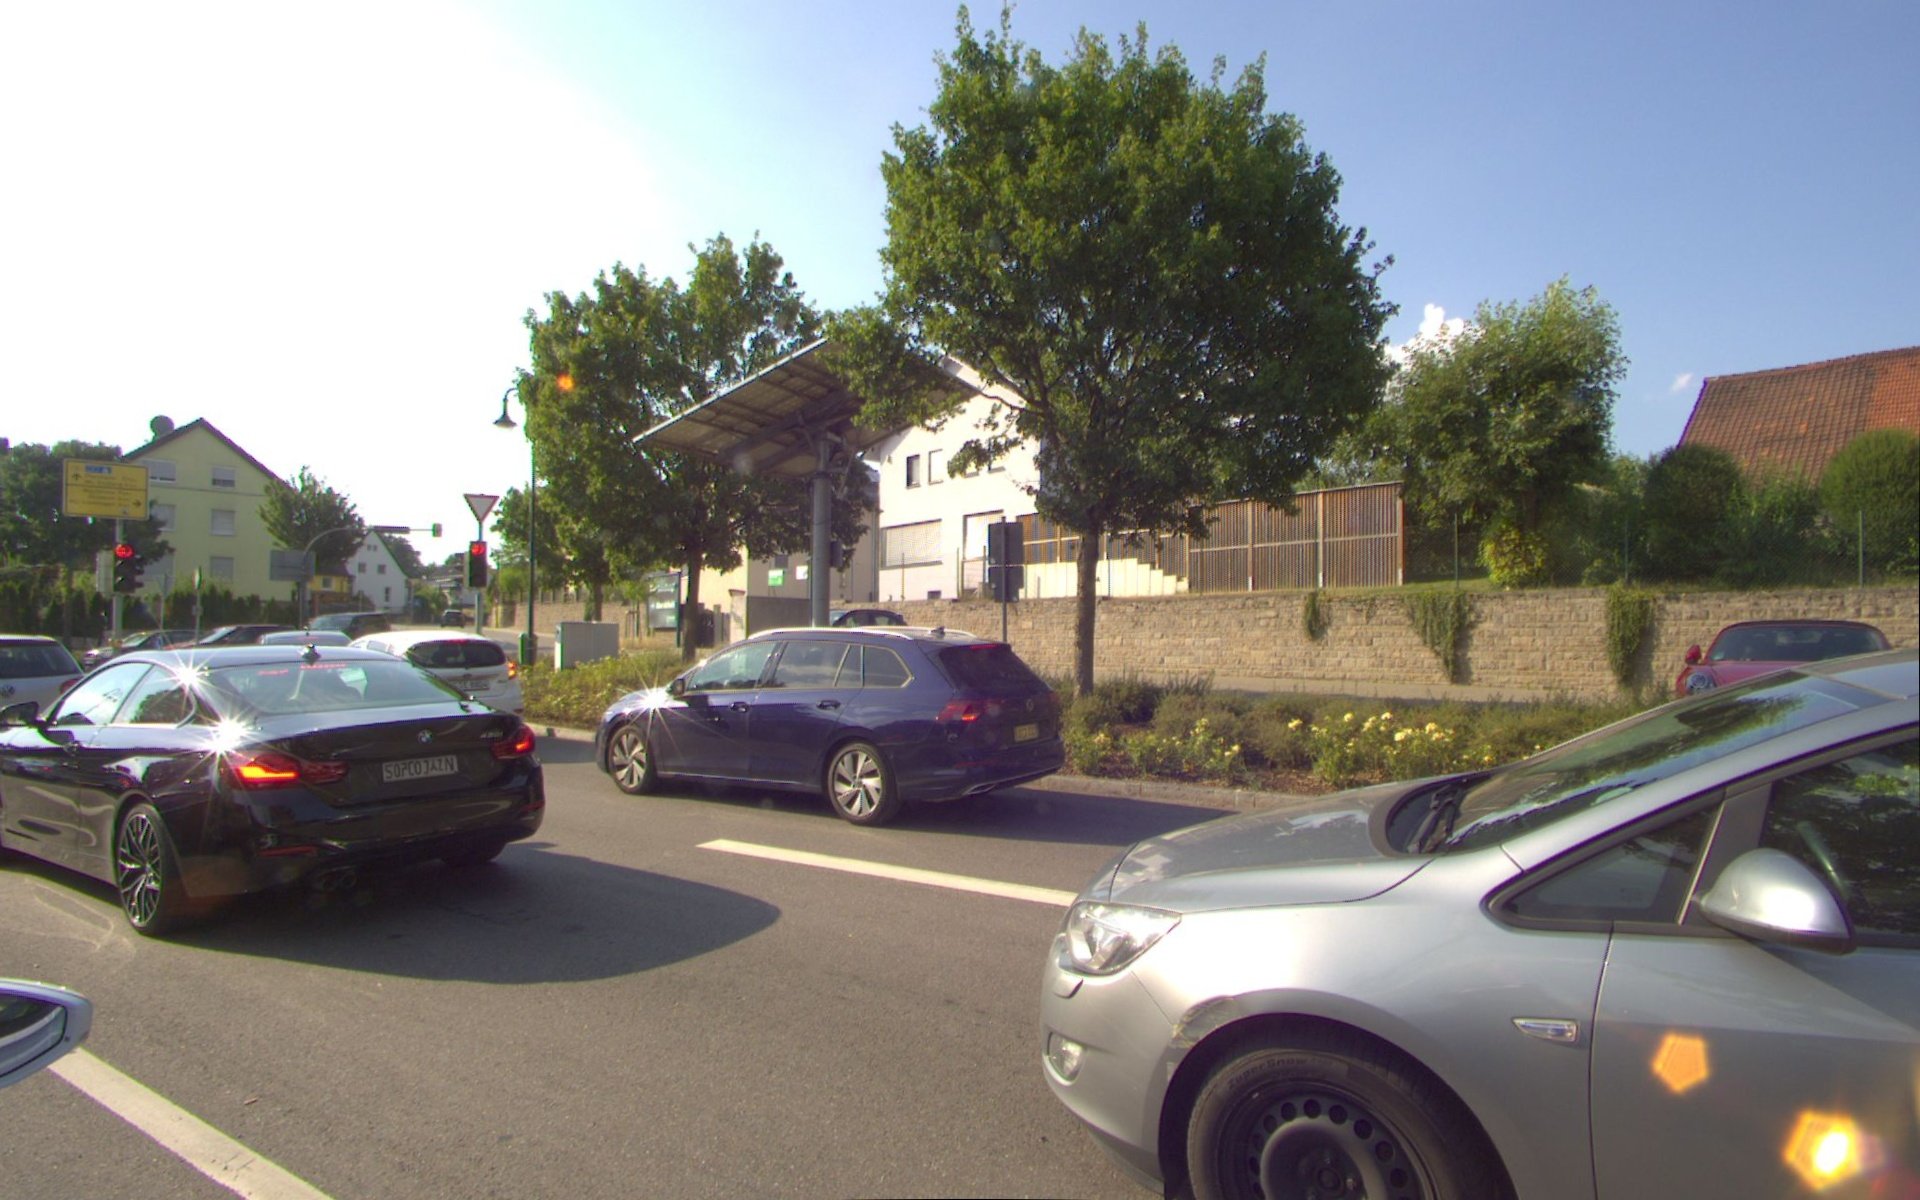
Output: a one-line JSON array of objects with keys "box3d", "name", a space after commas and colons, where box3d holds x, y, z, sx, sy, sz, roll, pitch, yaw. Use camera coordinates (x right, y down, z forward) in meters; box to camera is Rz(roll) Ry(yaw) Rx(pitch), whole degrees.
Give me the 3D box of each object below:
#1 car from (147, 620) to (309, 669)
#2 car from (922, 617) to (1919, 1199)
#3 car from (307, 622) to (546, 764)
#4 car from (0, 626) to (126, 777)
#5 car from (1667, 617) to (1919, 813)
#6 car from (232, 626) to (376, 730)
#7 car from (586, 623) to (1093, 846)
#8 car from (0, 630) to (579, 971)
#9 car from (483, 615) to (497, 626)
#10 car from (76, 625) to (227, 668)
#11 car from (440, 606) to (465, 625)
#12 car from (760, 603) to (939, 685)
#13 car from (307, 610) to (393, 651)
[{"box3d": [-26.490, 1.602, 36.414, 1.818, 1.662, 4.418, 0, -2, 25], "name": "car"}, {"box3d": [2.171, 0.785, 2.166, 4.256, 1.472, 1.758, -1, 0, 31], "name": "car"}, {"box3d": [-6.920, 1.084, 12.892, 3.278, 1.562, 1.611, -1, 0, 40], "name": "car"}, {"box3d": [-10.808, 1.014, 10.784, 3.848, 1.444, 1.758, -1, 0, 33], "name": "car"}, {"box3d": [8.223, 0.956, 9.749, 1.758, 1.510, 4.120, -1, -2, 41], "name": "car"}, {"box3d": [-11.756, 1.274, 17.819, 1.643, 1.562, 4.362, 0, 0, -40], "name": "car"}, {"box3d": [-1.161, 0.951, 8.660, 4.259, 1.472, 1.757, -1, 0, 34], "name": "car"}, {"box3d": [-4.437, 0.916, 6.191, 4.220, 1.416, 1.758, -1, 0, 33], "name": "car"}, {"box3d": [-73.720, 3.189, 157.013, 1.941, 1.701, 4.197, 0, -1, -27], "name": "car"}, {"box3d": [-30.075, 1.722, 37.368, 1.821, 1.508, 3.983, -1, -2, 30], "name": "car"}, {"box3d": [-46.265, 1.398, 91.288, 1.942, 1.701, 4.196, 0, -1, -28], "name": "car"}, {"box3d": [-2.380, 0.966, 22.302, 1.758, 1.653, 3.800, -1, -2, 40], "name": "car"}, {"box3d": [-28.014, 1.415, 46.144, 1.814, 1.761, 4.782, 1, -2, -11], "name": "car"}]
